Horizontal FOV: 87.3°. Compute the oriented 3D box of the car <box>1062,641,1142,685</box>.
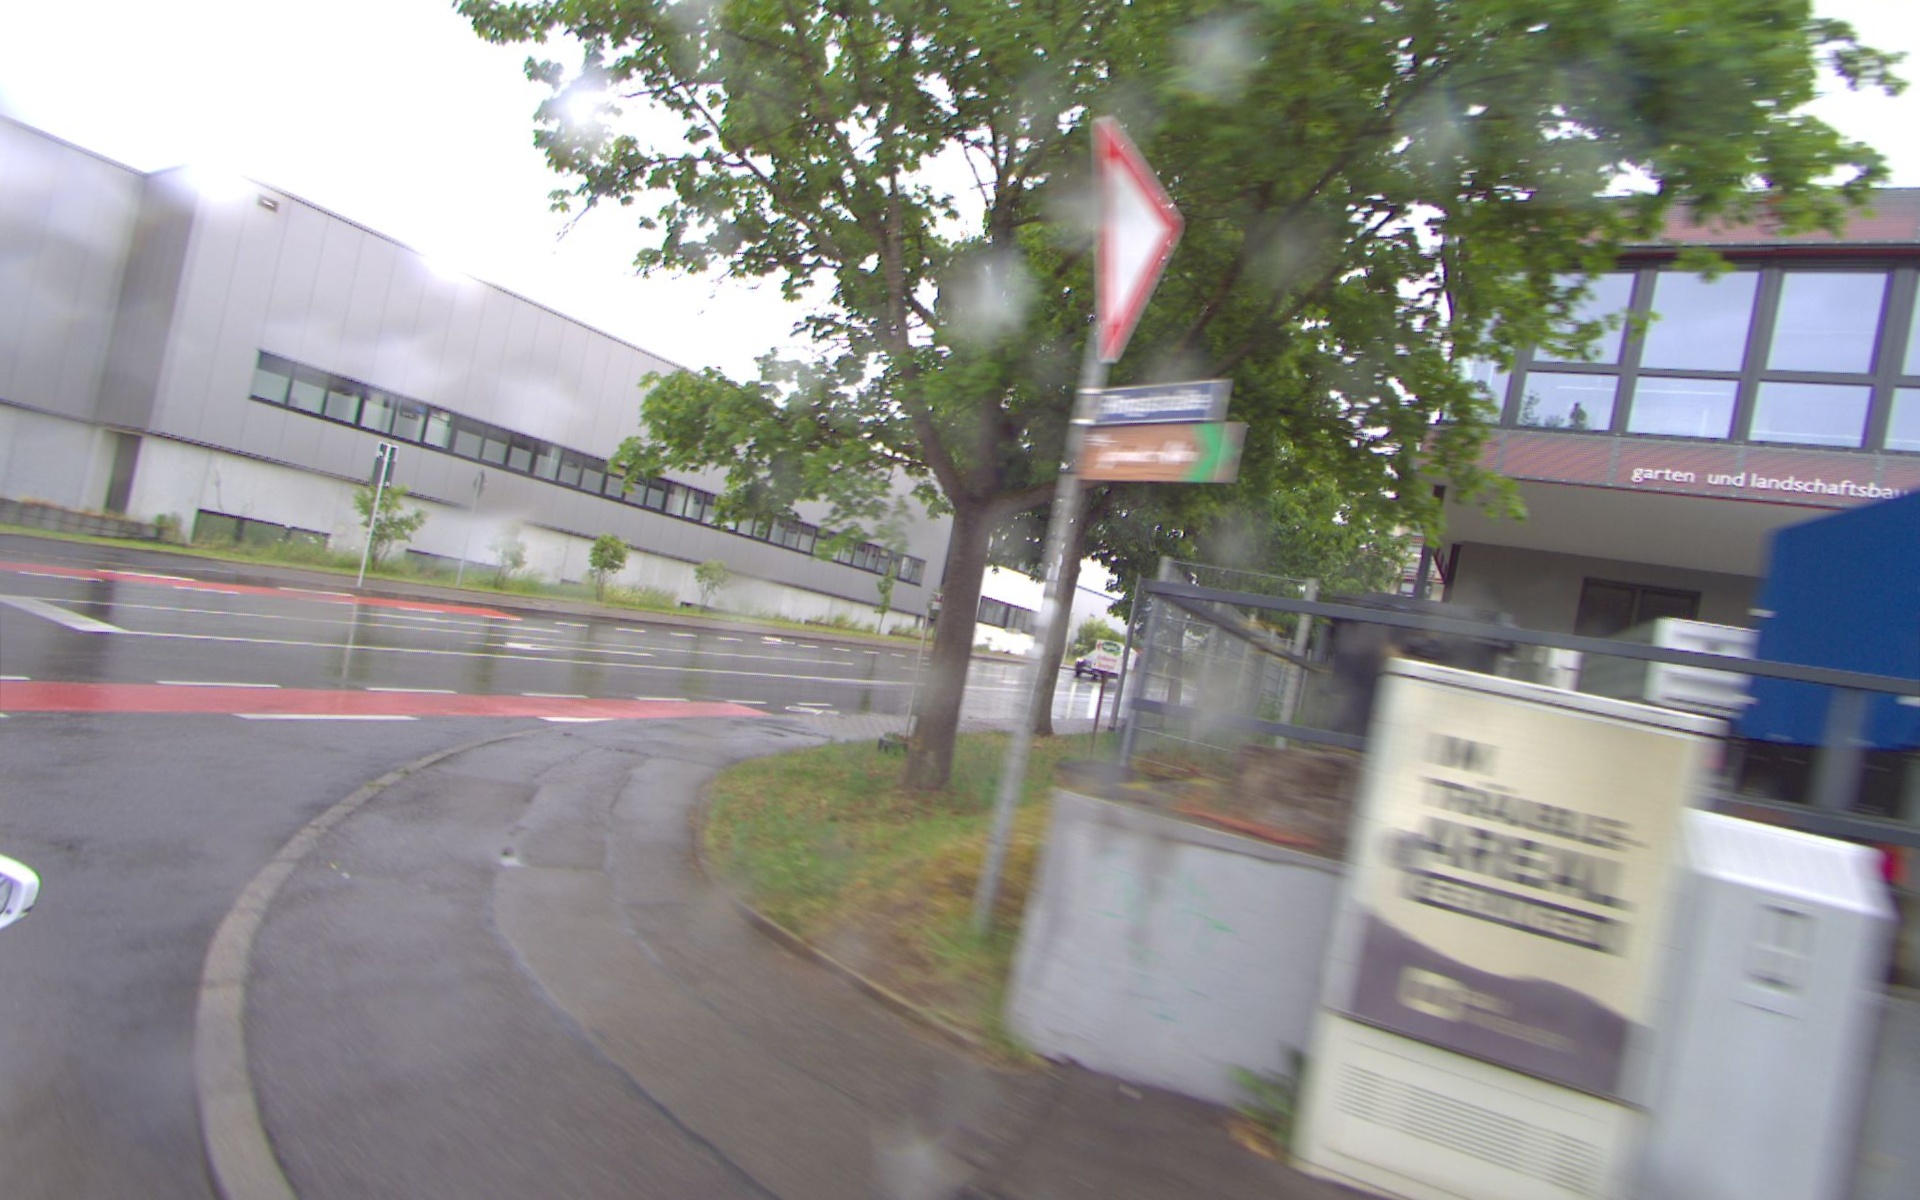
[{"bbox_3d":[8.254,3.674,57.663,2.320,1.836,6.879,9,-2,26],"label":"car"}]

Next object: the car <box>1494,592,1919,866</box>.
[{"bbox_3d":[8.295,1.338,10.139,4.851,2.036,2.063,8,-2,27],"label":"car"}]

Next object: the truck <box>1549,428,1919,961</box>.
[{"bbox_3d":[6.221,0.763,4.642,5.549,2.239,2.114,8,-2,22],"label":"truck"}]

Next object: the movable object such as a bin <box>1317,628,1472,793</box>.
[{"bbox_3d":[3.363,0.841,7.739,0.869,1.054,1.052,8,-2,30],"label":"movable object such as a bin"}]

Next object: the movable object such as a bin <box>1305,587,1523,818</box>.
[{"bbox_3d":[2.854,0.625,6.322,1.009,1.175,1.142,8,-2,28],"label":"movable object such as a bin"}]

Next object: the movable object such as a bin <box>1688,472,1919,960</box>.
[{"bbox_3d":[3.967,0.504,3.474,1.823,1.517,1.313,8,-1,13],"label":"movable object such as a bin"}]

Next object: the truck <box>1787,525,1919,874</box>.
[{"bbox_3d":[8.934,1.021,6.615,4.750,2.368,2.251,8,-2,25],"label":"truck"}]
